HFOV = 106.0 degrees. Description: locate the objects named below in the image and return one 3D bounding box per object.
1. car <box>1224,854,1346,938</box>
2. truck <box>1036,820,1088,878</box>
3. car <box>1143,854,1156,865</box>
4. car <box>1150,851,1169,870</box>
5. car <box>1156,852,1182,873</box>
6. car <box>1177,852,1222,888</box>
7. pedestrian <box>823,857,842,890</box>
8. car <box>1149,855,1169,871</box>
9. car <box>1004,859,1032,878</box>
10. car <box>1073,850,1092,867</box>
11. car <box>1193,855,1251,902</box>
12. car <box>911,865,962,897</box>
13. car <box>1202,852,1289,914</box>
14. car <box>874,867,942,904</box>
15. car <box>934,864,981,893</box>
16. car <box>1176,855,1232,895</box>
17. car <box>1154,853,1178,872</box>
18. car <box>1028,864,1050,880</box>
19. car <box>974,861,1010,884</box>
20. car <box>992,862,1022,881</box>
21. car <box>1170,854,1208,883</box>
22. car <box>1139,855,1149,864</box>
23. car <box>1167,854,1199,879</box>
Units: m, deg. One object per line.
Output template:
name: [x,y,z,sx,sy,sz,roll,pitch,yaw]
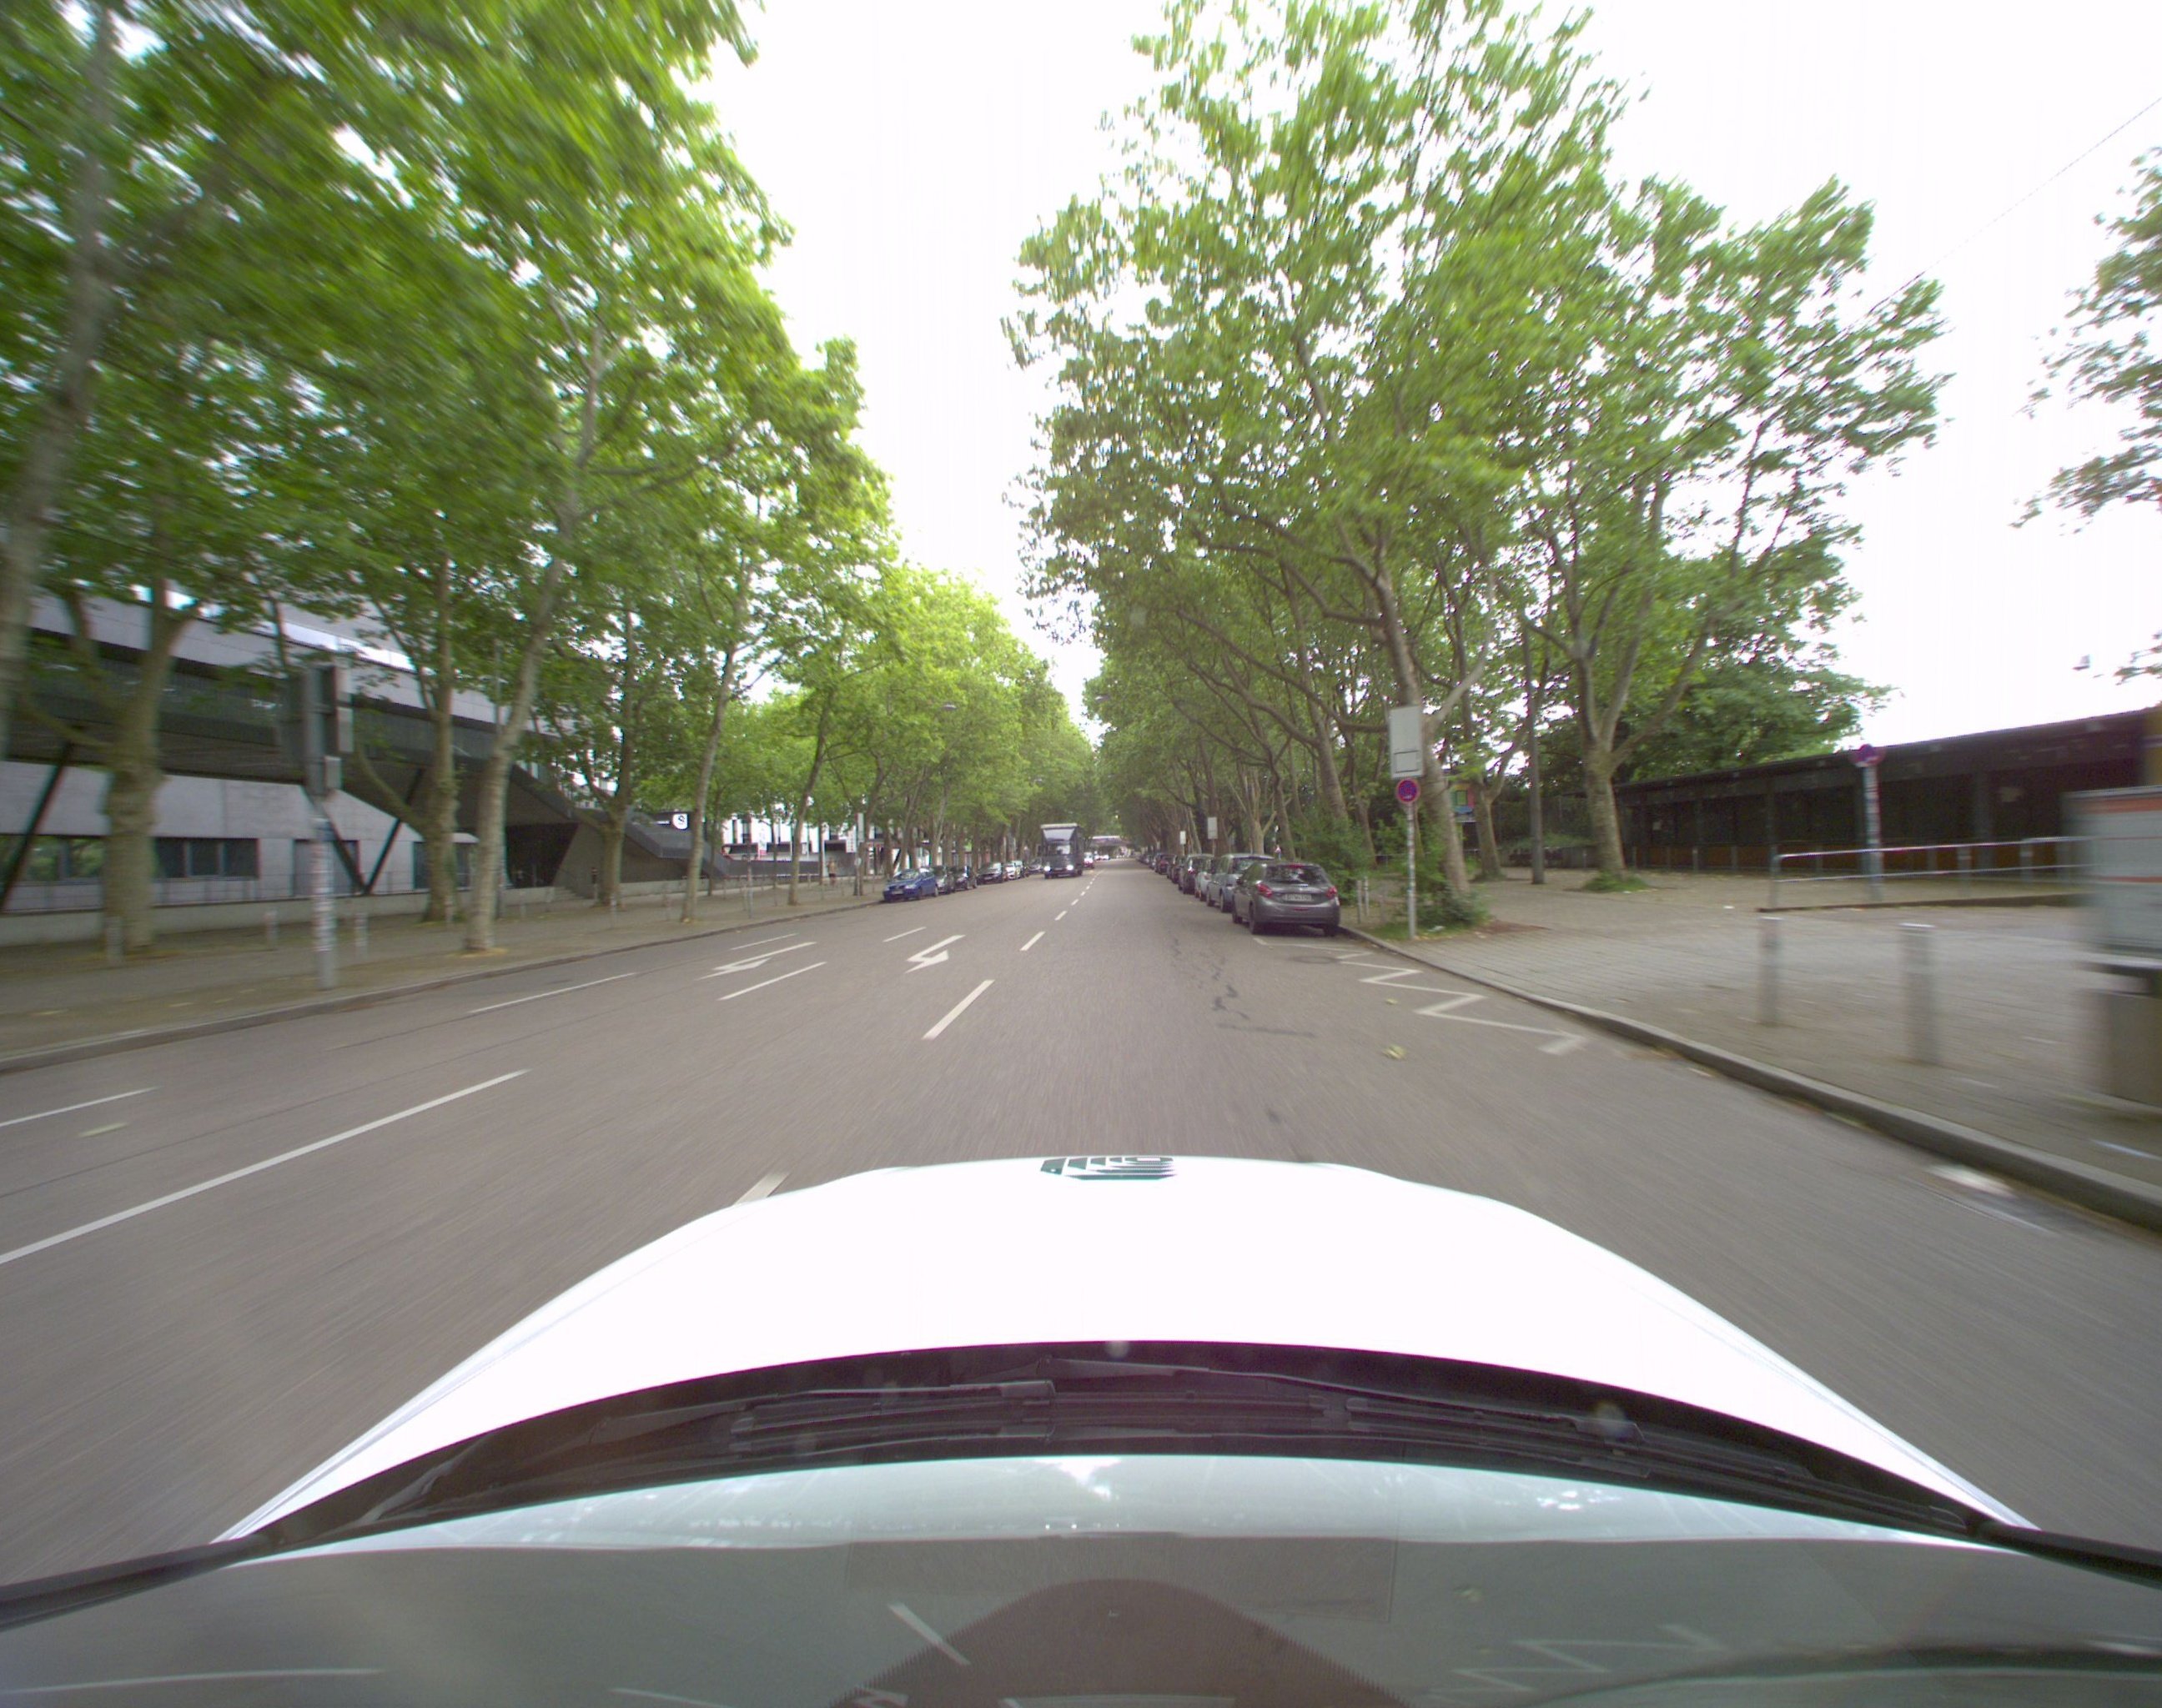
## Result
car: [4.237,0.796,17.573,1.692,1.519,4.457,2,0,3]
truck: [-1.288,-0.348,61.536,2.628,3.901,9.554,-3,-1,5]
car: [10.462,0.893,124.917,1.749,1.534,3.932,-3,-1,3]
car: [8.732,0.713,90.581,1.749,1.815,3.932,-6,0,3]
car: [6.859,0.646,63.647,1.749,1.534,3.932,0,0,3]
car: [5.564,0.746,38.716,1.749,1.597,3.932,0,0,3]
pedestrian: [-14.289,1.121,46.801,0.775,1.835,0.870,-1,-1,-32]
car: [7.968,0.945,83.312,1.749,1.534,3.932,-2,0,3]
car: [-5.279,1.232,68.578,1.888,1.438,4.001,-3,-2,1]
car: [0.229,0.497,94.433,1.972,1.934,4.116,-2,0,3]
car: [4.859,0.818,28.483,1.667,1.490,3.691,2,0,5]
car: [-7.211,1.338,40.981,1.760,1.418,3.760,-5,-2,0]
car: [4.609,0.779,23.380,1.713,1.567,4.094,2,0,1]
car: [-7.595,1.344,36.159,1.686,1.418,3.769,-5,-2,7]
car: [-6.866,1.347,45.625,1.759,1.418,3.763,-5,-2,3]
car: [4.937,0.809,33.182,1.749,1.490,4.419,2,0,3]
car: [7.225,0.746,69.678,1.749,1.534,3.932,-2,0,3]
car: [-4.238,1.853,82.902,1.888,1.438,4.001,-3,-2,1]
car: [-6.019,1.272,55.650,1.759,1.418,3.763,-5,-2,3]
car: [-5.667,1.363,62.869,1.725,1.332,4.002,-3,-2,2]
car: [5.837,0.780,44.554,1.749,1.534,3.932,0,0,3]
car: [11.332,0.937,146.624,1.749,1.534,3.932,0,0,3]
car: [6.455,0.775,51.913,1.749,1.534,3.932,0,0,3]
